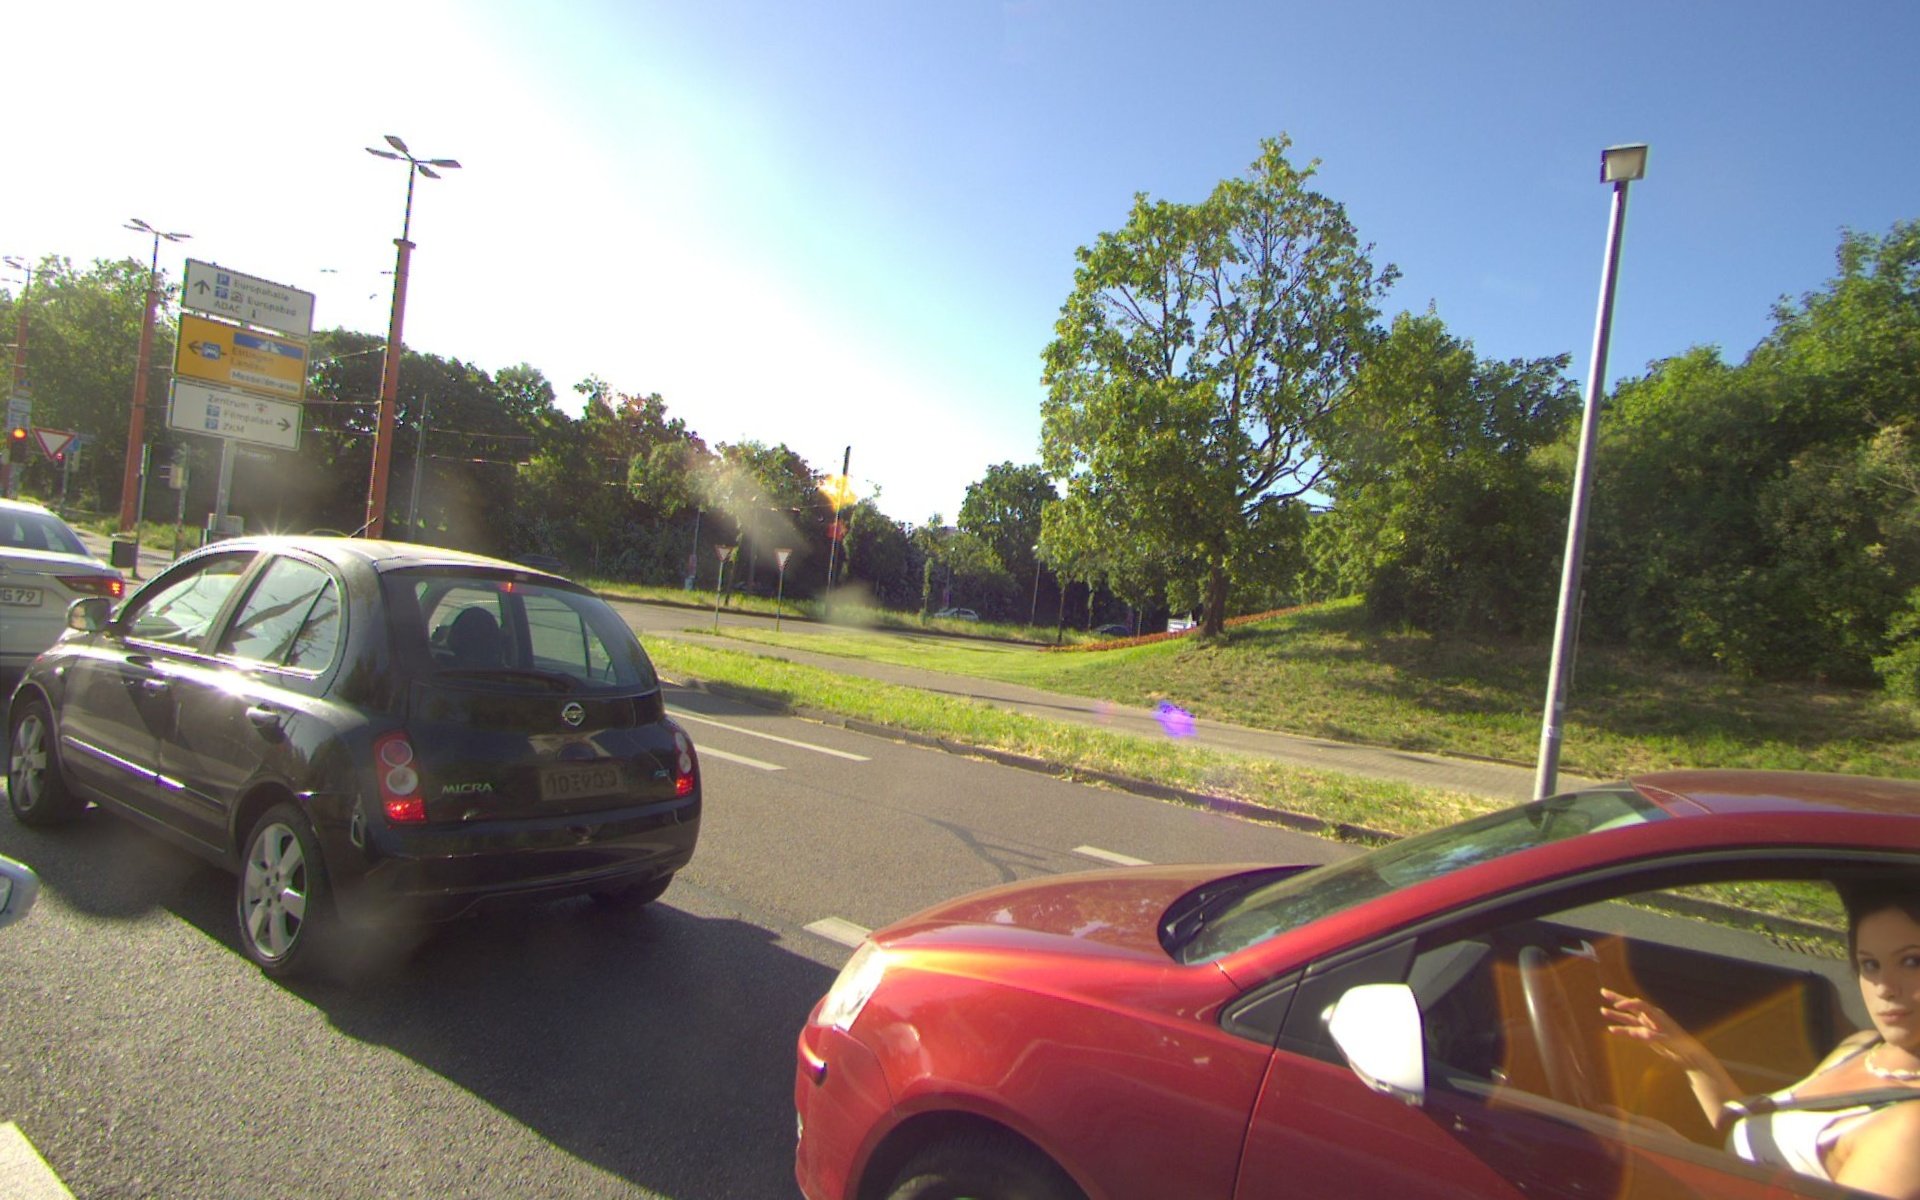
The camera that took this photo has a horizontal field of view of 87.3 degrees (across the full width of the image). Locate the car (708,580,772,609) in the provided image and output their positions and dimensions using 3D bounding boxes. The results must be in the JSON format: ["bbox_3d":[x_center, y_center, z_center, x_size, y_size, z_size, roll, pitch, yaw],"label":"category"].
[{"bbox_3d":[-15.056,-0.372,68.930,3.886,1.474,1.643,8,-1,-31],"label":"car"}]

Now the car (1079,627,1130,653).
[{"bbox_3d":[11.491,3.202,79.951,3.764,1.528,1.644,8,-1,-31],"label":"car"}]

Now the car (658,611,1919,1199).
[{"bbox_3d":[1.346,1.001,1.866,3.629,1.477,1.579,6,-2,32],"label":"car"}]

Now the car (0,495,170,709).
[{"bbox_3d":[-8.369,-0.176,8.077,4.256,1.457,1.802,6,-2,33],"label":"car"}]

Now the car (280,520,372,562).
[{"bbox_3d":[-35.340,-3.271,56.203,4.176,1.701,1.643,8,-1,-32],"label":"car"}]

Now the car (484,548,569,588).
[{"bbox_3d":[-25.097,-1.851,58.278,4.180,1.701,1.641,8,-1,-35],"label":"car"}]

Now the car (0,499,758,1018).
[{"bbox_3d":[-2.797,0.466,4.622,3.385,1.457,1.579,6,-2,32],"label":"car"}]

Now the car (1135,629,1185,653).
[{"bbox_3d":[17.305,3.532,86.890,4.105,1.528,1.644,8,-1,-31],"label":"car"}]

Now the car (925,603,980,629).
[{"bbox_3d":[-0.559,1.221,77.295,3.888,1.474,1.643,8,-1,-32],"label":"car"}]
